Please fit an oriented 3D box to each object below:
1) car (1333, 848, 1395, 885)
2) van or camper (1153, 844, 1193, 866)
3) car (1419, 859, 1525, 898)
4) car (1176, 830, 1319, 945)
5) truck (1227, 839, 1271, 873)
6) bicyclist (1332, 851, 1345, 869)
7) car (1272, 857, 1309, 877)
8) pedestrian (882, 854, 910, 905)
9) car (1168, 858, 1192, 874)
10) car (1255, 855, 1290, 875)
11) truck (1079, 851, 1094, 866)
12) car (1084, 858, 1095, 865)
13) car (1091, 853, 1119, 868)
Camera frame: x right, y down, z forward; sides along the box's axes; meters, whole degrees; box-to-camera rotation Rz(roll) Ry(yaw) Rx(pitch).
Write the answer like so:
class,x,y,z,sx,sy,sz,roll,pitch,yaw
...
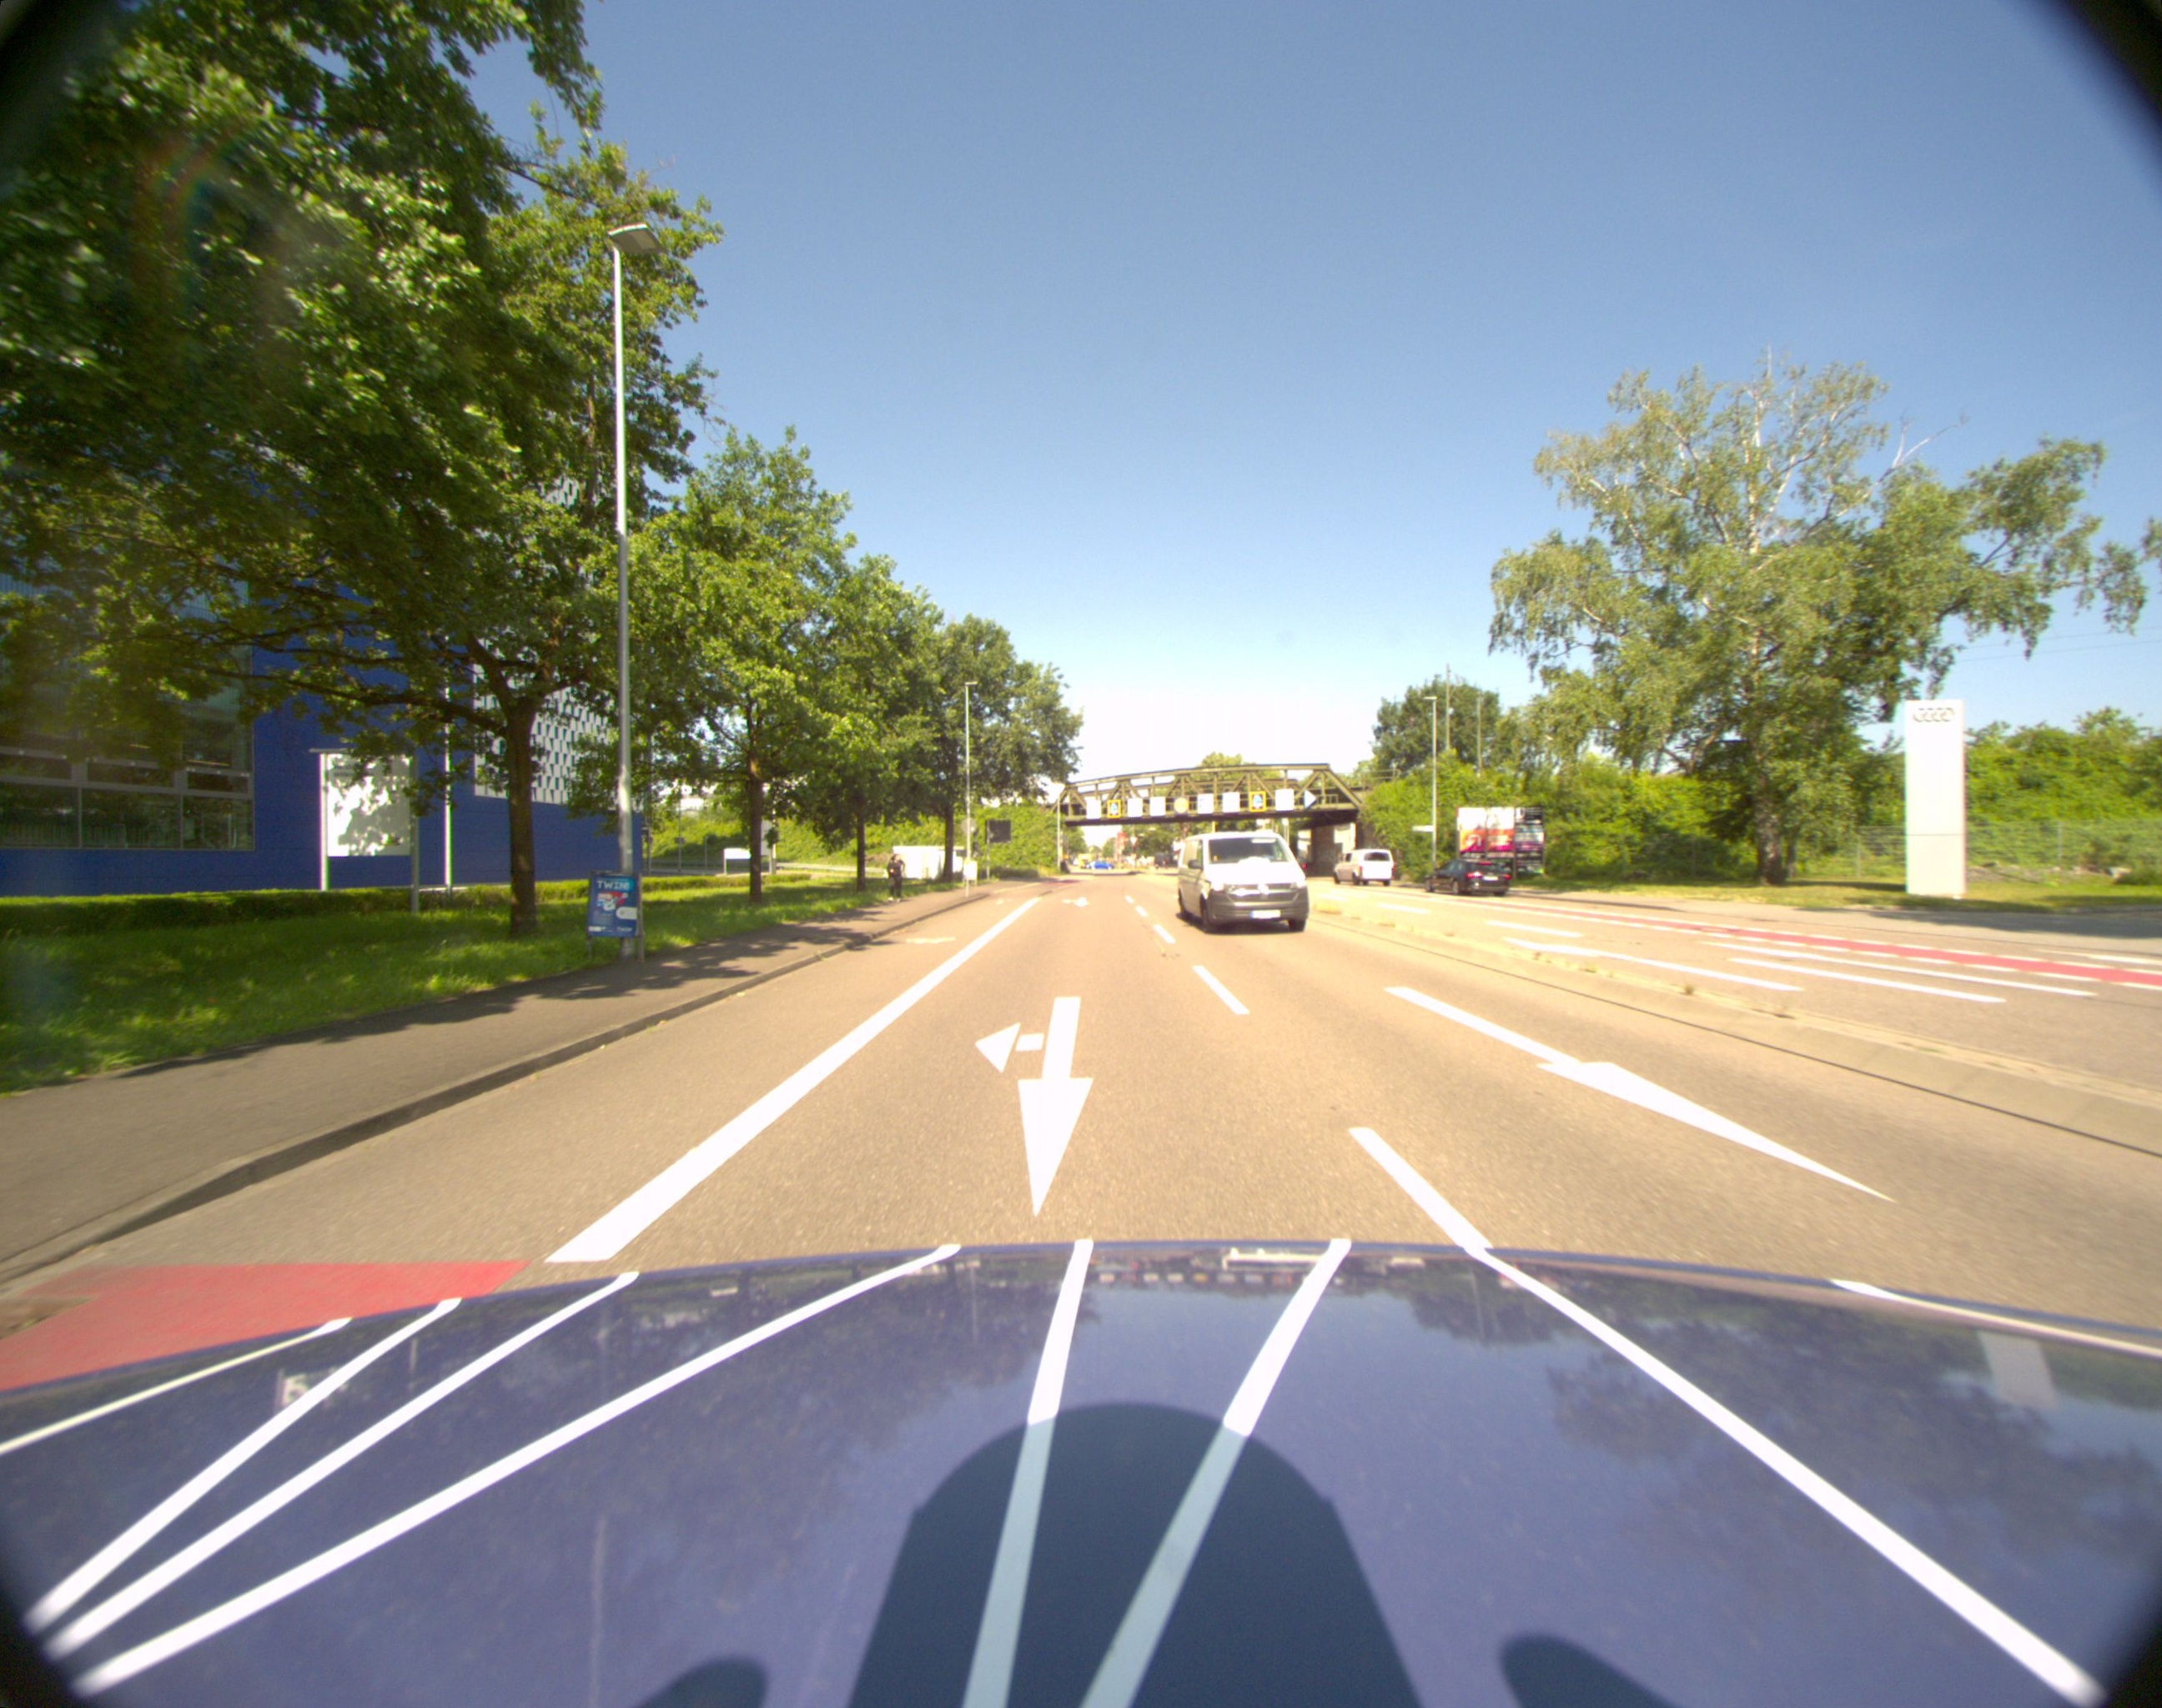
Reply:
class,x,y,z,sx,sy,sz,roll,pitch,yaw
car,15.900,0.670,42.981,1.998,2.002,5.349,0,0,6
van or camper,14.603,0.194,120.629,5.779,3.136,2.600,-3,-1,-4
car,15.423,0.921,30.285,1.998,1.405,4.682,0,0,3
car,3.197,0.585,15.669,1.886,1.982,4.974,0,0,0
truck,15.890,0.169,72.432,2.347,3.070,7.068,-1,0,-2
bicyclist,18.298,0.428,53.979,0.635,1.220,0.951,0,0,6
car,16.036,1.028,58.414,1.773,1.485,4.179,1,-1,1
pedestrian,-5.988,0.808,24.583,0.648,1.594,0.847,0,1,2
car,10.388,1.223,79.828,1.998,1.671,4.951,0,0,2
car,16.507,0.958,65.732,1.989,1.679,4.289,1,-1,1
truck,1.057,0.872,155.866,2.410,2.845,5.803,-3,-1,-5
car,1.571,1.437,141.424,1.823,1.346,3.999,0,0,-3
car,3.543,0.997,113.302,3.996,2.001,2.212,-3,-1,3
